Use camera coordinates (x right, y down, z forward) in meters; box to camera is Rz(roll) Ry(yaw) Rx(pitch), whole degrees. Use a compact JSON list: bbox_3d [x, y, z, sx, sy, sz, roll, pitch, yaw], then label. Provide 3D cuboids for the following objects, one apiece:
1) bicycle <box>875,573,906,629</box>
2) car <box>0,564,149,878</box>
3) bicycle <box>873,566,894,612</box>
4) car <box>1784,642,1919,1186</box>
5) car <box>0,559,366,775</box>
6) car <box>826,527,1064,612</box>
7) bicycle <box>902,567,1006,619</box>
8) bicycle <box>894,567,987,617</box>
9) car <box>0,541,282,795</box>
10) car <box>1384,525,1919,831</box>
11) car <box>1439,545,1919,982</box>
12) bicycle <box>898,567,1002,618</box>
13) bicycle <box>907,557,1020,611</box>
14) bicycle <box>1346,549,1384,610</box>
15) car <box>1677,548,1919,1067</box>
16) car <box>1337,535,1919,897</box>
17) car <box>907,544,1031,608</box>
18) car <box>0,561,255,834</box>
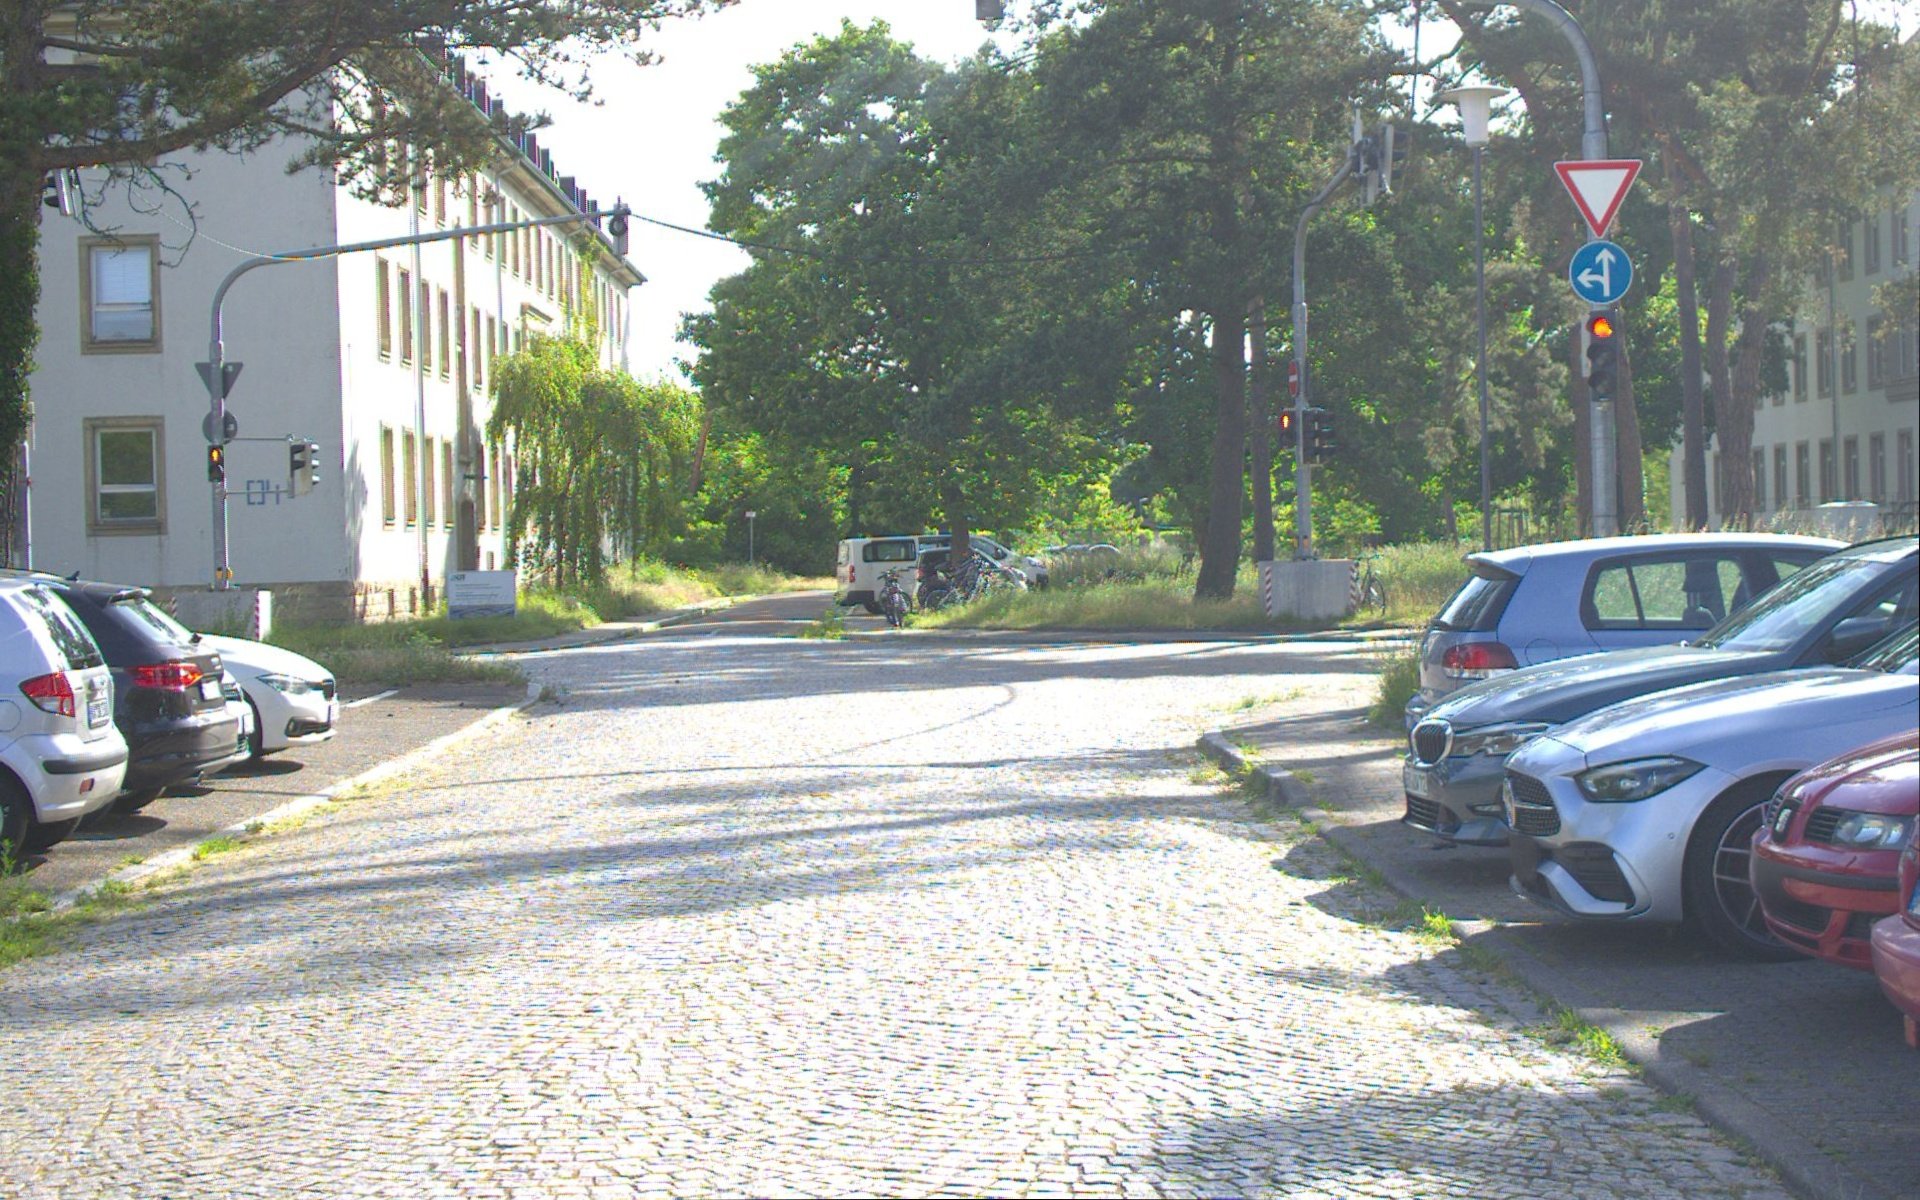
[{"bbox_3d":[-1.288,0.010,63.602,0.467,1.007,1.586,1,0,-4],"label":"bicycle"},{"bbox_3d":[-6.133,0.553,17.303,3.746,1.482,1.646,1,1,-3],"label":"car"},{"bbox_3d":[-1.711,-0.254,76.787,0.417,1.007,1.483,1,0,0],"label":"bicycle"},{"bbox_3d":[4.077,0.673,8.304,3.707,1.219,1.746,-3,1,0],"label":"car"},{"bbox_3d":[-6.639,0.453,25.137,4.333,1.463,1.831,1,1,-3],"label":"car"},{"bbox_3d":[-0.367,-0.742,85.095,5.520,2.007,2.001,1,0,-18],"label":"car"},{"bbox_3d":[-0.127,-0.148,68.851,2.004,1.007,0.632,1,0,-8],"label":"bicycle"},{"bbox_3d":[-0.402,-0.162,70.606,1.837,1.007,0.636,1,0,-8],"label":"bicycle"},{"bbox_3d":[-6.712,0.408,22.889,4.079,1.588,1.886,1,1,-3],"label":"car"},{"bbox_3d":[4.324,0.359,18.280,3.882,1.410,1.637,-3,1,0],"label":"car"},{"bbox_3d":[4.151,0.495,12.785,4.432,1.410,1.781,-3,1,0],"label":"car"},{"bbox_3d":[-0.213,-0.154,69.733,2.027,1.007,0.627,1,0,-8],"label":"bicycle"},{"bbox_3d":[0.065,-0.309,67.138,2.109,1.007,0.621,1,0,-8],"label":"bicycle"},{"bbox_3d":[6.478,-0.329,55.057,0.300,0.957,1.586,1,0,-4],"label":"bicycle"},{"bbox_3d":[4.495,0.509,10.702,4.127,1.444,1.637,-3,1,0],"label":"car"},{"bbox_3d":[4.097,0.440,15.501,4.559,1.410,1.637,-3,1,0],"label":"car"},{"bbox_3d":[0.200,-0.561,81.611,2.781,1.462,1.671,1,0,-5],"label":"car"},{"bbox_3d":[-6.242,0.517,19.930,3.986,1.475,1.803,1,1,-3],"label":"car"}]
